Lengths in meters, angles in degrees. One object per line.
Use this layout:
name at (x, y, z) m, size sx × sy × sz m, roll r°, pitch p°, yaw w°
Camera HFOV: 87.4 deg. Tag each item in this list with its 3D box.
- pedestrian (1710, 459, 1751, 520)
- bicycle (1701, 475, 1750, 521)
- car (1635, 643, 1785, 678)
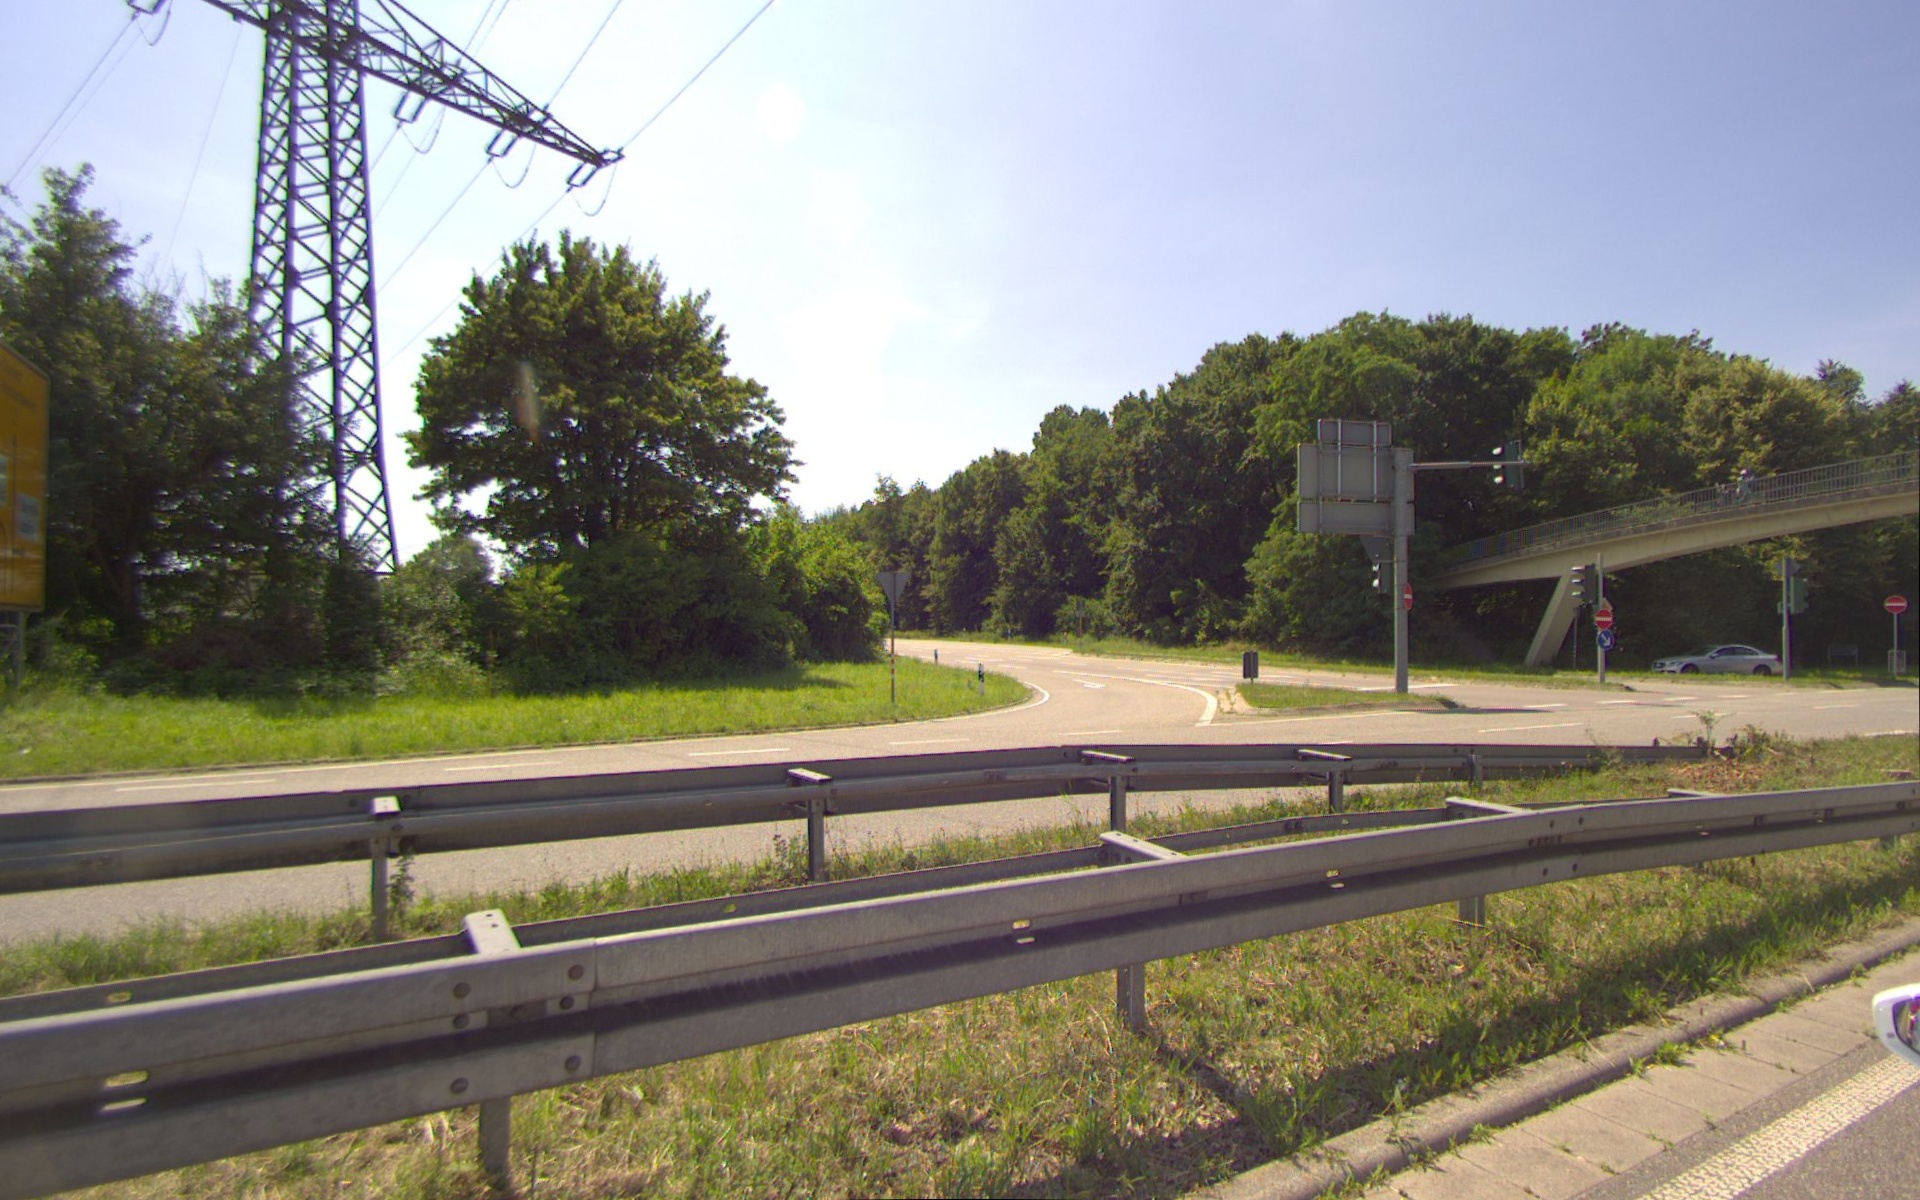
pedestrian at (29.290, -4.193, 38.193) m, size 0.916 × 2.167 × 0.783 m, roll 2°, pitch -3°, yaw -14°
bicycle at (29.028, -3.866, 38.112) m, size 0.462 × 1.493 × 1.528 m, roll 2°, pitch -3°, yaw -14°
car at (31.324, 2.515, 42.062) m, size 4.685 × 1.391 × 2.001 m, roll 0°, pitch -2°, yaw 4°
